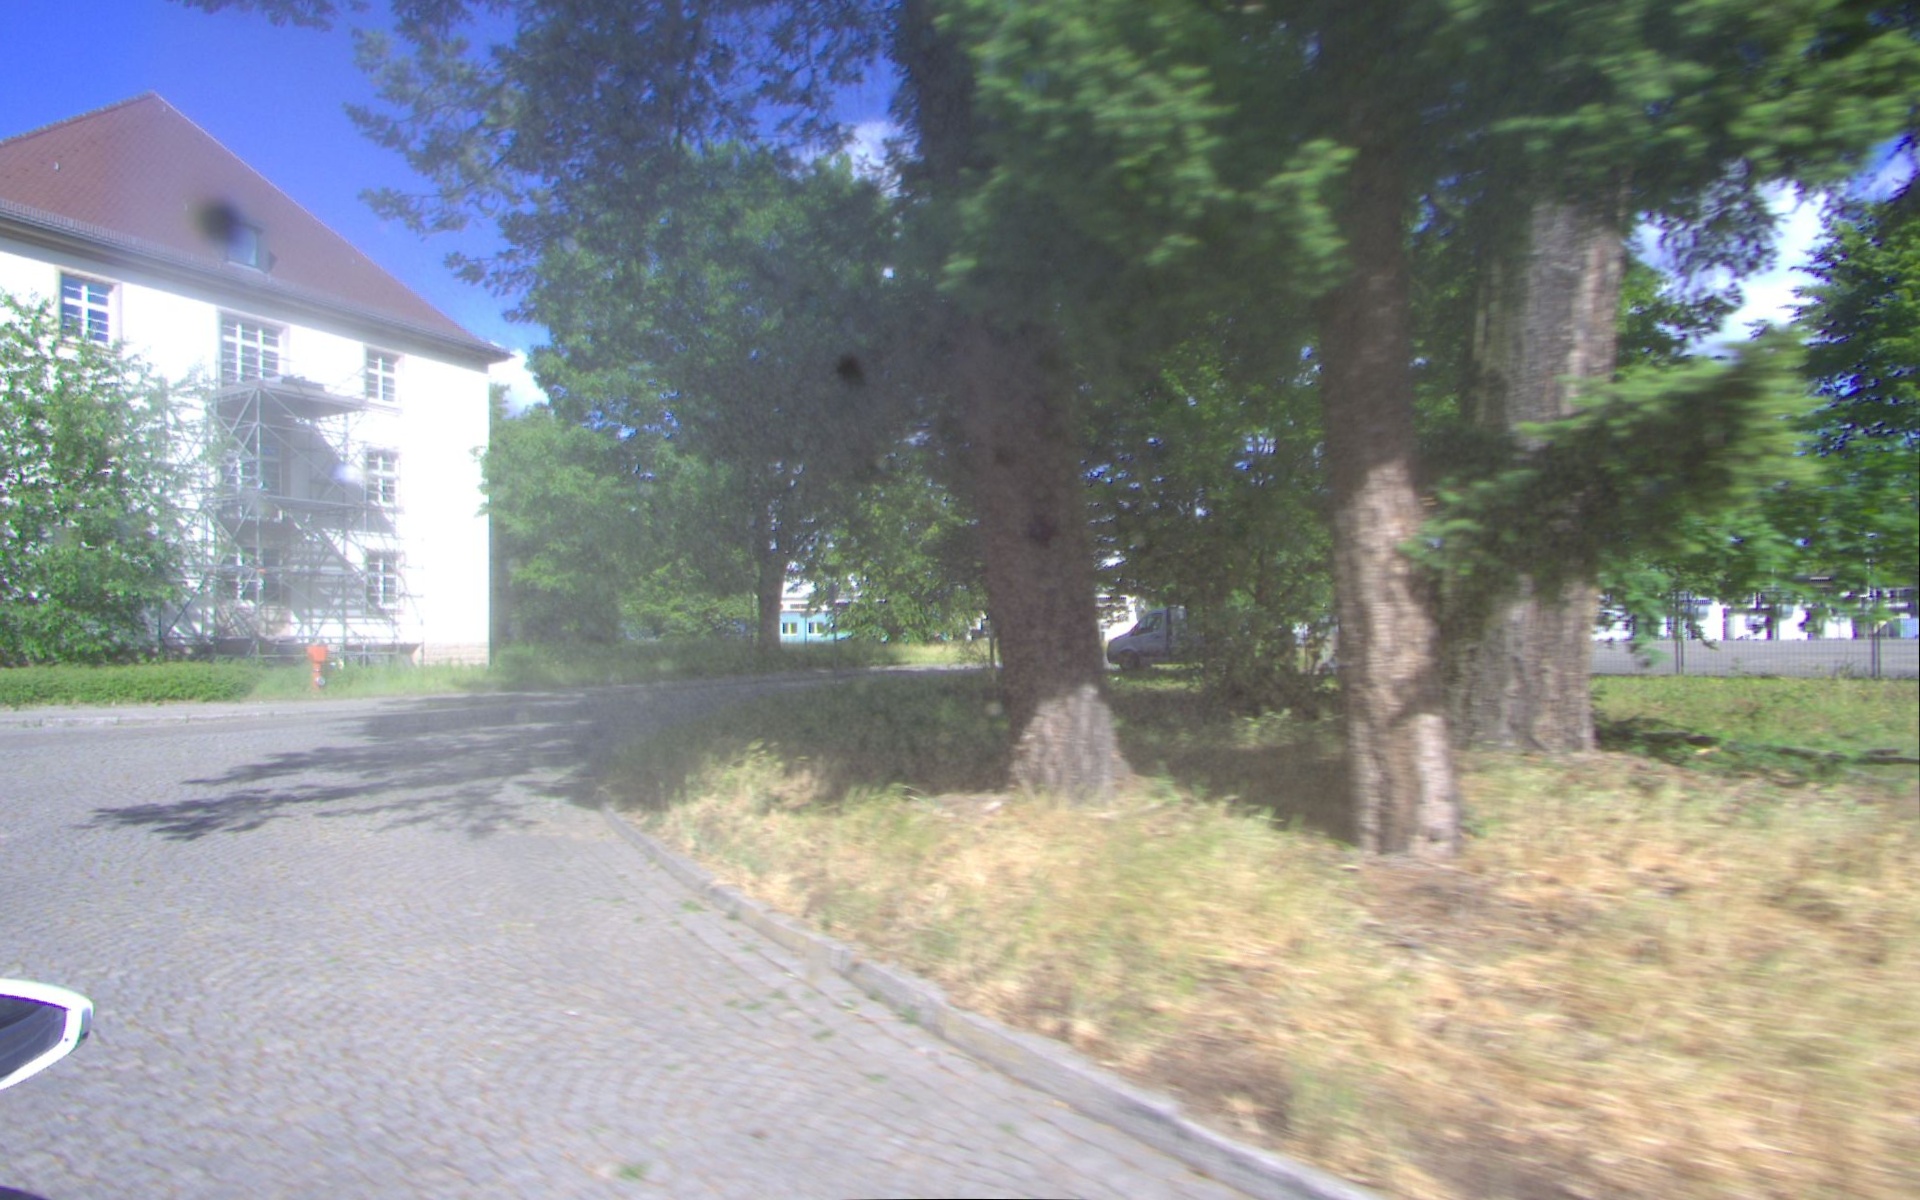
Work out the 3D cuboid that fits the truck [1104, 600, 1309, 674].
[{"bbox_3d":[8.700,1.332,35.617,6.779,2.454,2.233,-1,-3,28],"label":"truck"}]
